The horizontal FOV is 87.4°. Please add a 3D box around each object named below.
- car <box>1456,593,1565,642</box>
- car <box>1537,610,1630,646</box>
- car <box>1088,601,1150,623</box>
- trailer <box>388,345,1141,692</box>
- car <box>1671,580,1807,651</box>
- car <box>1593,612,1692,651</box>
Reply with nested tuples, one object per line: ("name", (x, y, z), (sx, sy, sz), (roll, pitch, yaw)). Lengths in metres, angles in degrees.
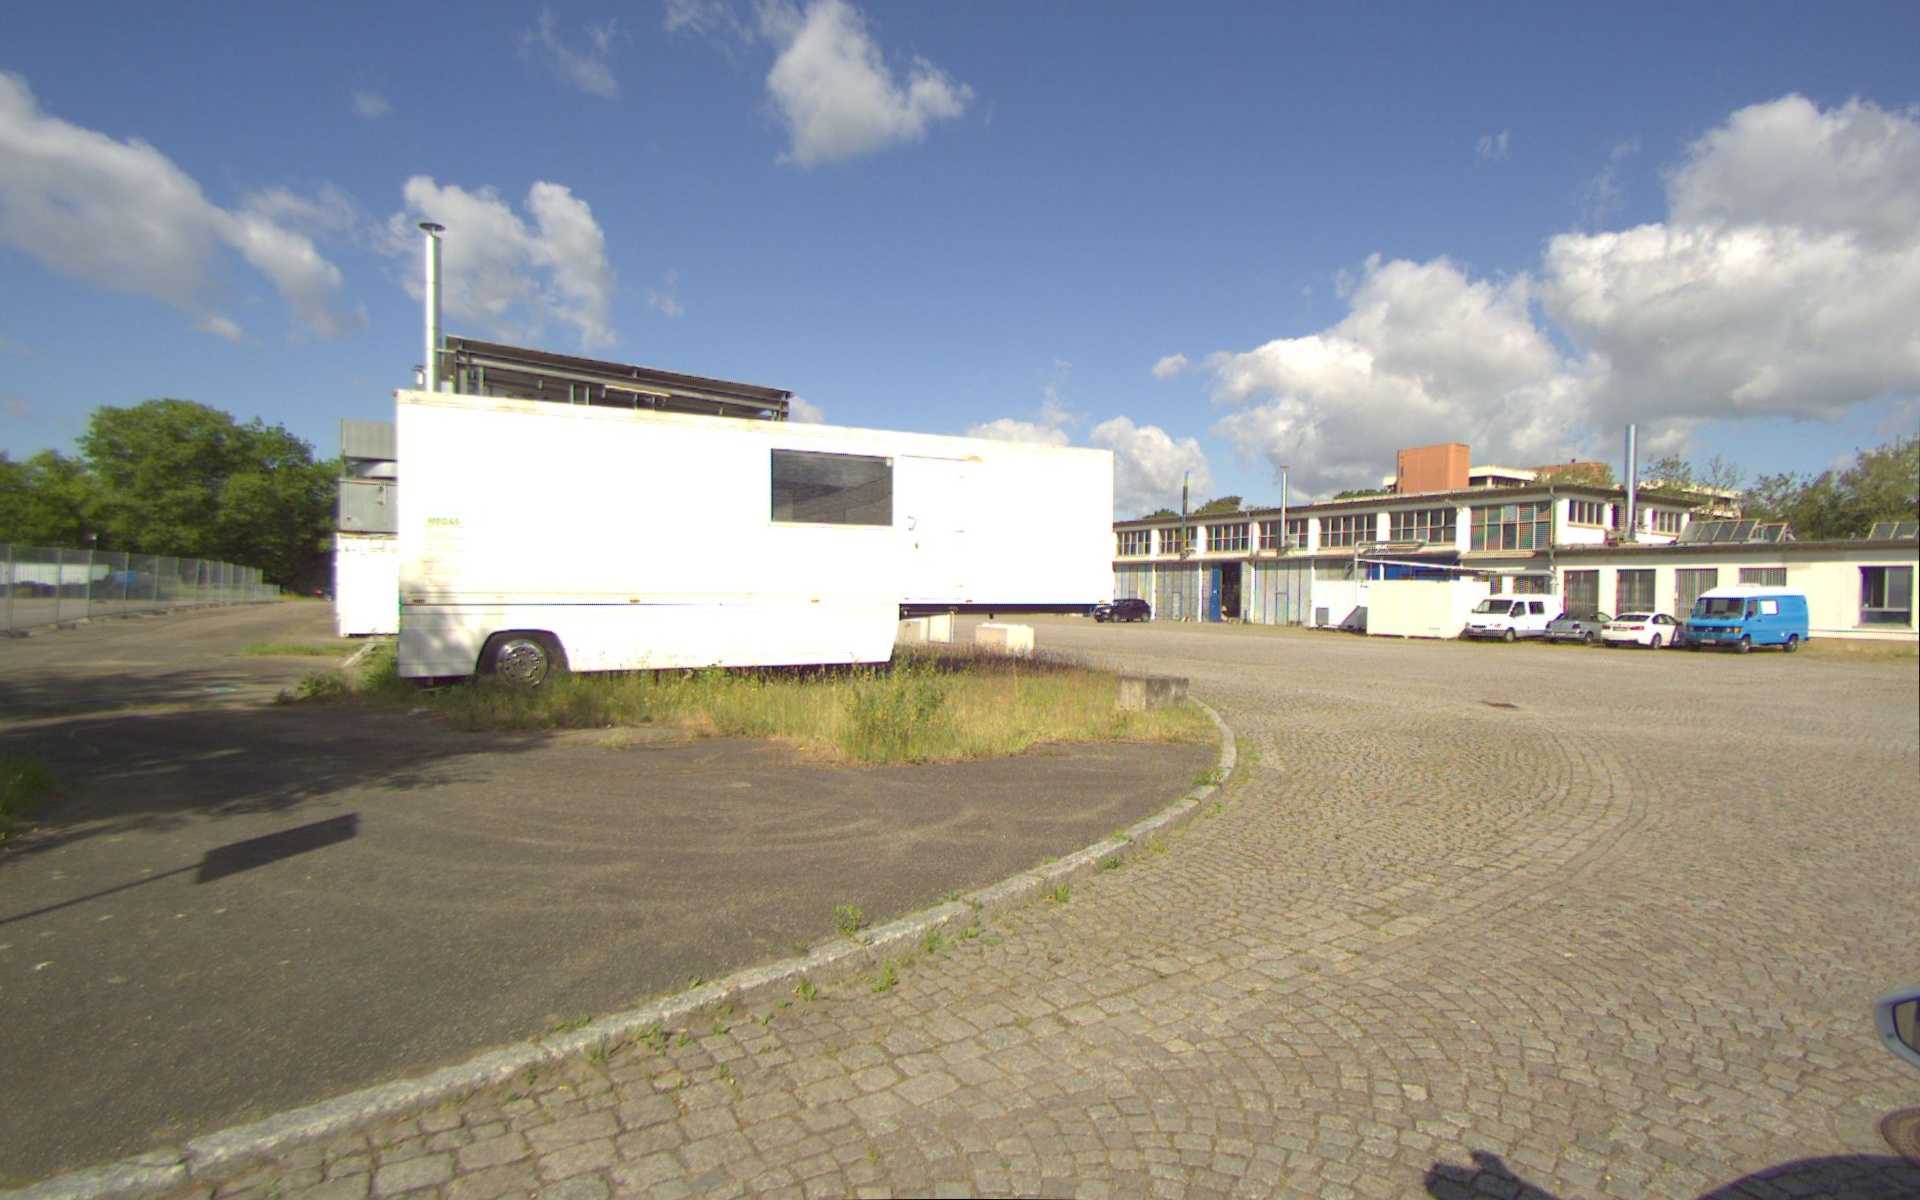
("car", (24.715, 0.792, 45.073), (4.743, 2.109, 1.996), (1, 0, -27))
("car", (26.606, 1.189, 42.838), (3.783, 1.417, 1.680), (1, 1, -28))
("car", (10.885, 0.798, 68.738), (4.030, 1.489, 1.726), (0, 0, -32))
("trailer", (-2.409, -0.855, 15.250), (10.749, 3.963, 2.761), (1, 0, -28))
("car", (29.469, 0.589, 37.985), (5.171, 2.516, 2.075), (1, 0, -27))
("car", (27.135, 1.220, 39.922), (3.691, 1.424, 1.726), (-1, 0, -28))
